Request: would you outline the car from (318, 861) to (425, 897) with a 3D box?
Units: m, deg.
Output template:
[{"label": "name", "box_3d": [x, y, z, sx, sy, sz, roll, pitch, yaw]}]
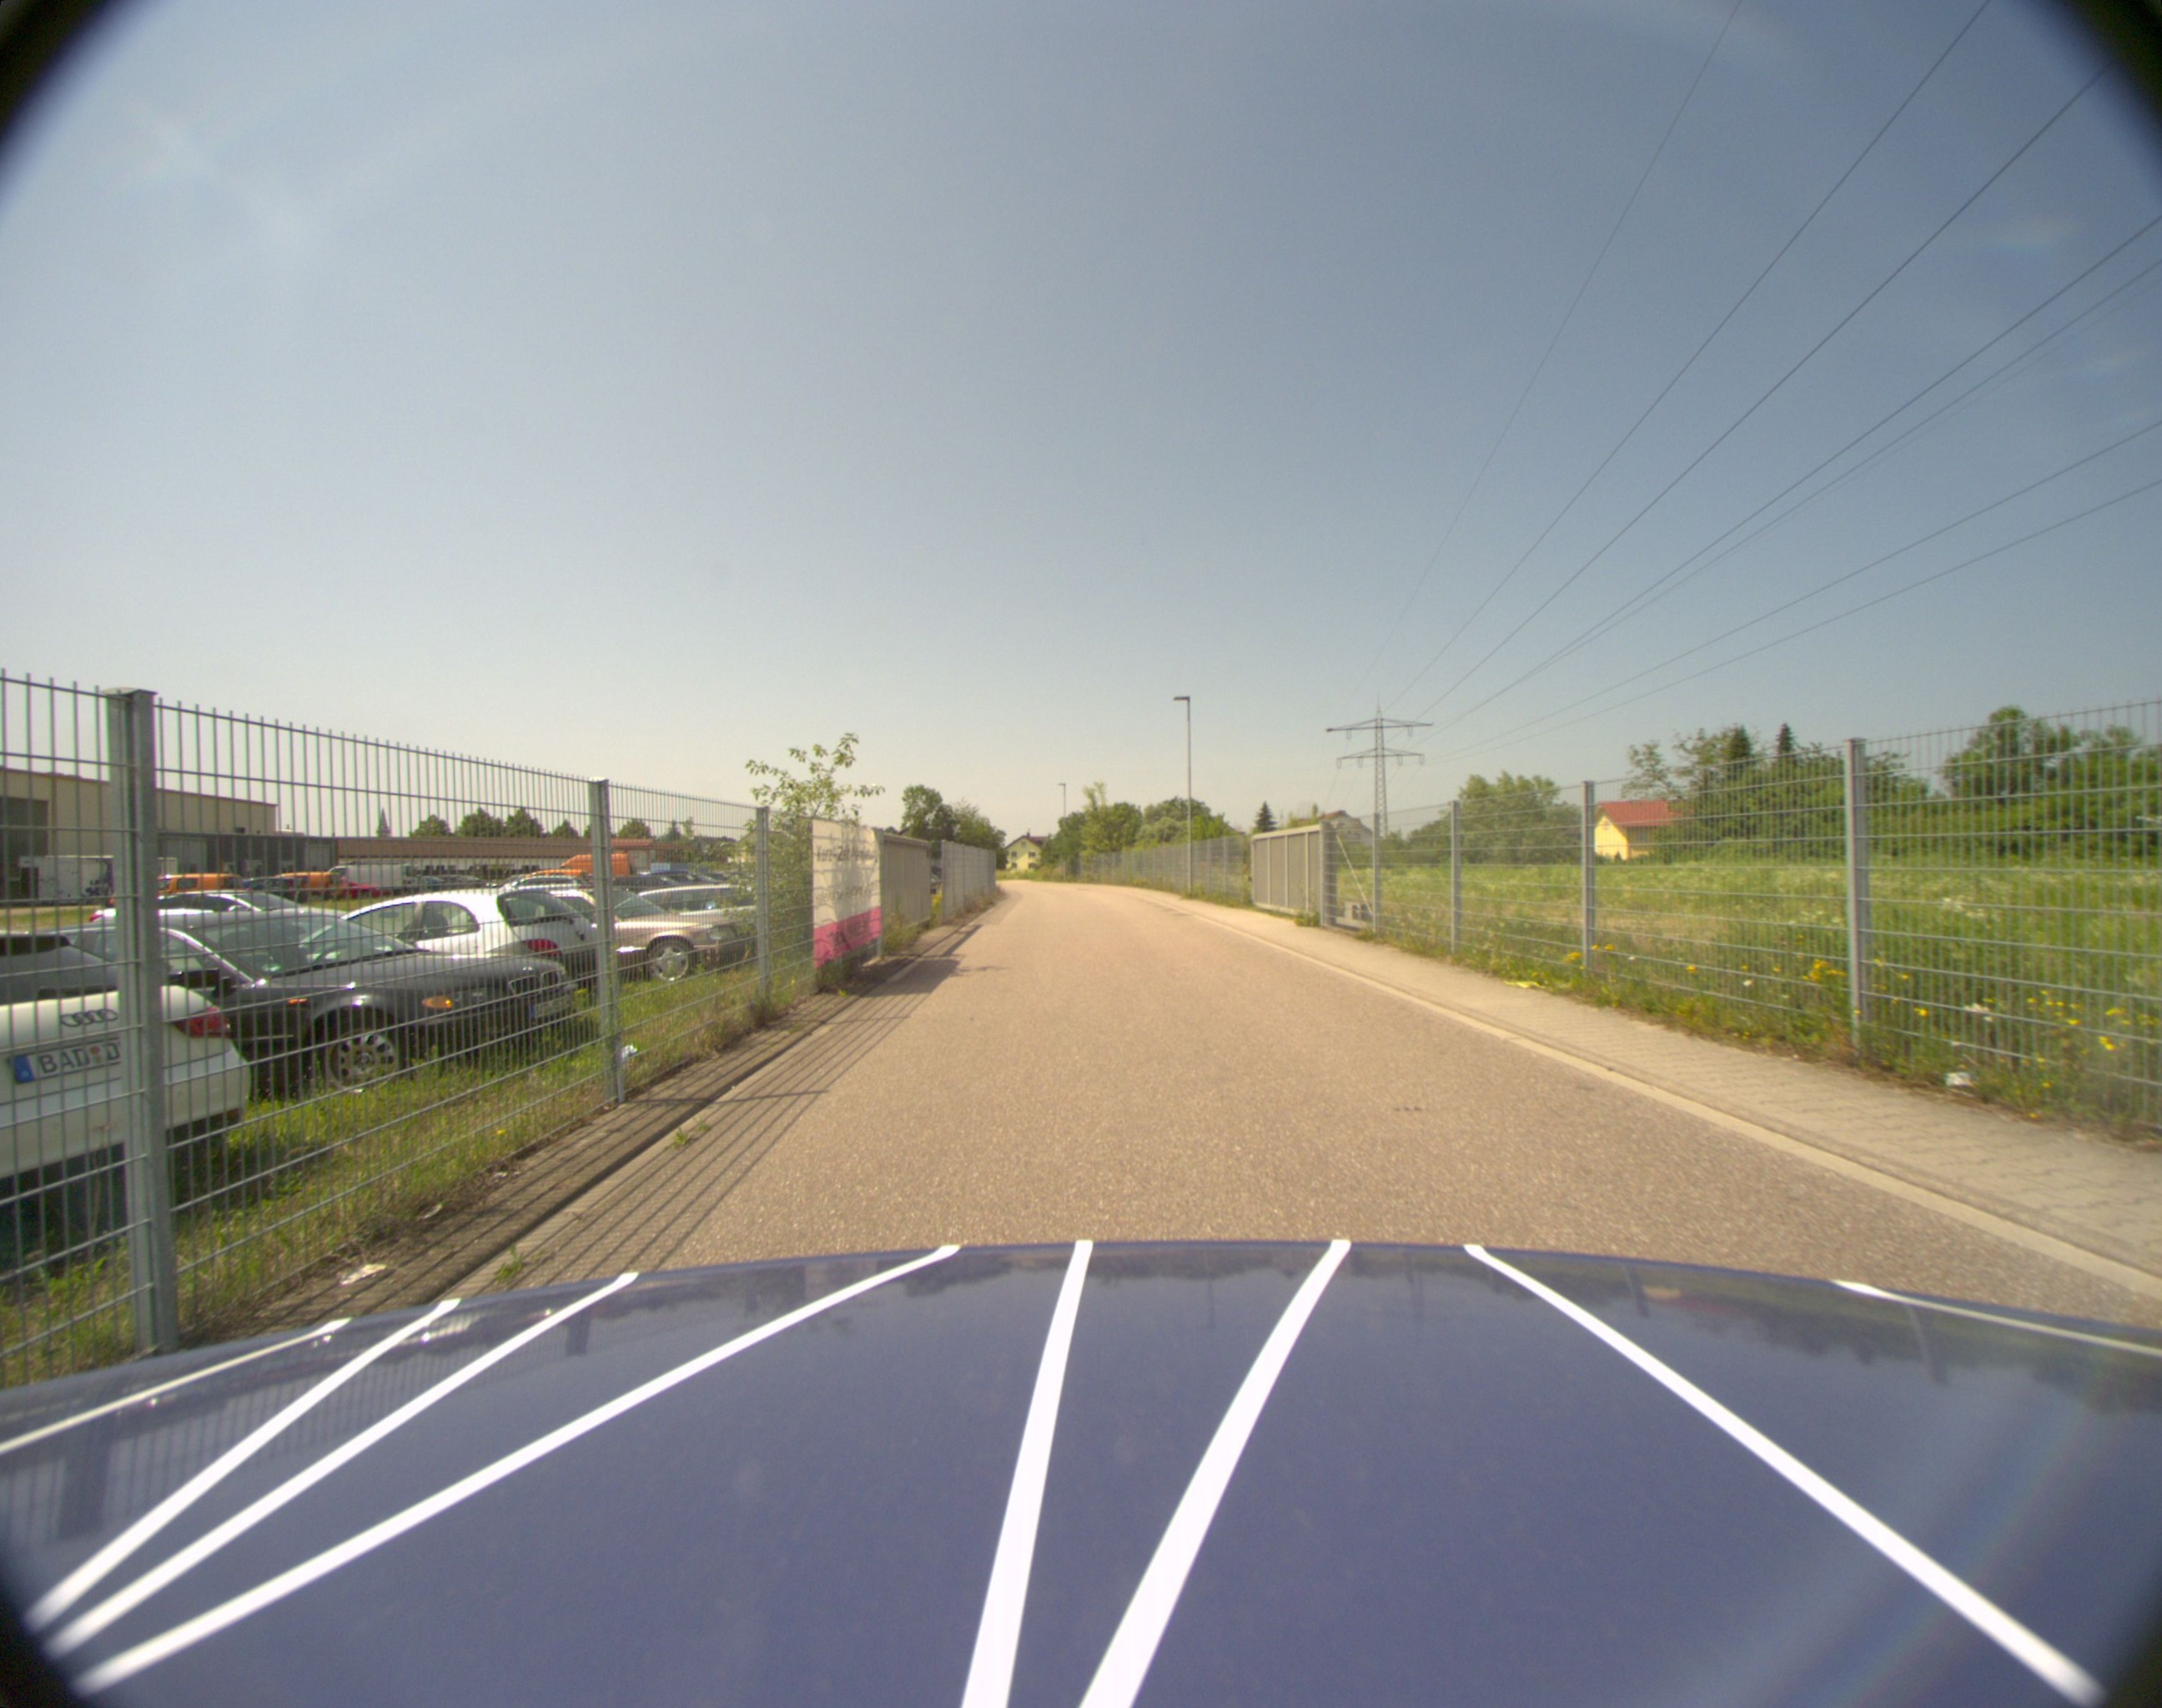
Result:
[{"label": "car", "box_3d": [-43.658, 1.507, 46.851, 4.394, 2.158, 1.971, 0, -1, -20]}]

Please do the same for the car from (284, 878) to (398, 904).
[{"label": "car", "box_3d": [-42.821, 2.116, 44.093, 4.393, 1.369, 1.839, 0, -1, -17]}]

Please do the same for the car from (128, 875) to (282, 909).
[{"label": "car", "box_3d": [-40.802, 1.726, 35.535, 4.394, 1.476, 1.750, 0, -1, -20]}]

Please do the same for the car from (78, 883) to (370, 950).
[{"label": "car", "box_3d": [-20.660, 1.467, 18.551, 4.526, 1.343, 1.624, -1, 0, -16]}]

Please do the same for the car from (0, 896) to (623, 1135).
[{"label": "car", "box_3d": [-6.106, 1.088, 5.718, 4.195, 1.346, 1.722, -1, 0, -4]}]

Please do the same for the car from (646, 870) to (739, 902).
[{"label": "car", "box_3d": [-18.753, 1.530, 36.856, 3.776, 1.428, 1.609, 0, -1, -17]}]

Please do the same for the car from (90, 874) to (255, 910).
[{"label": "car", "box_3d": [-39.930, 1.650, 33.533, 4.394, 1.476, 1.750, 0, -1, -20]}]

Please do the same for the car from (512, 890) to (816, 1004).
[{"label": "car", "box_3d": [-6.953, 1.522, 13.041, 4.176, 1.465, 1.637, -4, 0, -5]}]

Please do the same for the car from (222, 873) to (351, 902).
[{"label": "car", "box_3d": [-42.885, 1.765, 41.128, 4.394, 1.476, 1.971, 0, -1, -20]}]

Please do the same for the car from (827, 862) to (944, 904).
[{"label": "car", "box_3d": [-8.008, 1.170, 31.354, 4.220, 1.398, 1.839, -4, 0, 2]}]

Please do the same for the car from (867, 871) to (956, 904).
[{"label": "car", "box_3d": [-8.781, 1.723, 39.634, 4.293, 1.627, 1.764, 0, -1, -5]}]

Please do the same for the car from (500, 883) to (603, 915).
[{"label": "car", "box_3d": [-25.685, 2.172, 36.976, 3.832, 1.453, 1.587, 0, -1, -17]}]

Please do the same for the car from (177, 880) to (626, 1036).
[{"label": "car", "box_3d": [-7.006, 1.020, 8.143, 3.277, 1.346, 1.527, -1, 0, -6]}]

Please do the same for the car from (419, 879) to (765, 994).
[{"label": "car", "box_3d": [-6.673, 1.091, 10.714, 3.673, 1.346, 1.740, -1, 0, -3]}]

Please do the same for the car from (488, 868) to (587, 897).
[{"label": "car", "box_3d": [-27.973, 1.449, 39.236, 3.832, 1.453, 1.587, 0, -1, -17]}]

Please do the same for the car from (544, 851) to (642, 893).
[{"label": "car", "box_3d": [-30.269, 1.099, 47.270, 4.750, 2.569, 1.978, 0, -1, -17]}]

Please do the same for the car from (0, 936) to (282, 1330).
[{"label": "car", "box_3d": [-5.890, 1.138, 3.023, 3.534, 1.381, 1.636, -1, 0, -4]}]
